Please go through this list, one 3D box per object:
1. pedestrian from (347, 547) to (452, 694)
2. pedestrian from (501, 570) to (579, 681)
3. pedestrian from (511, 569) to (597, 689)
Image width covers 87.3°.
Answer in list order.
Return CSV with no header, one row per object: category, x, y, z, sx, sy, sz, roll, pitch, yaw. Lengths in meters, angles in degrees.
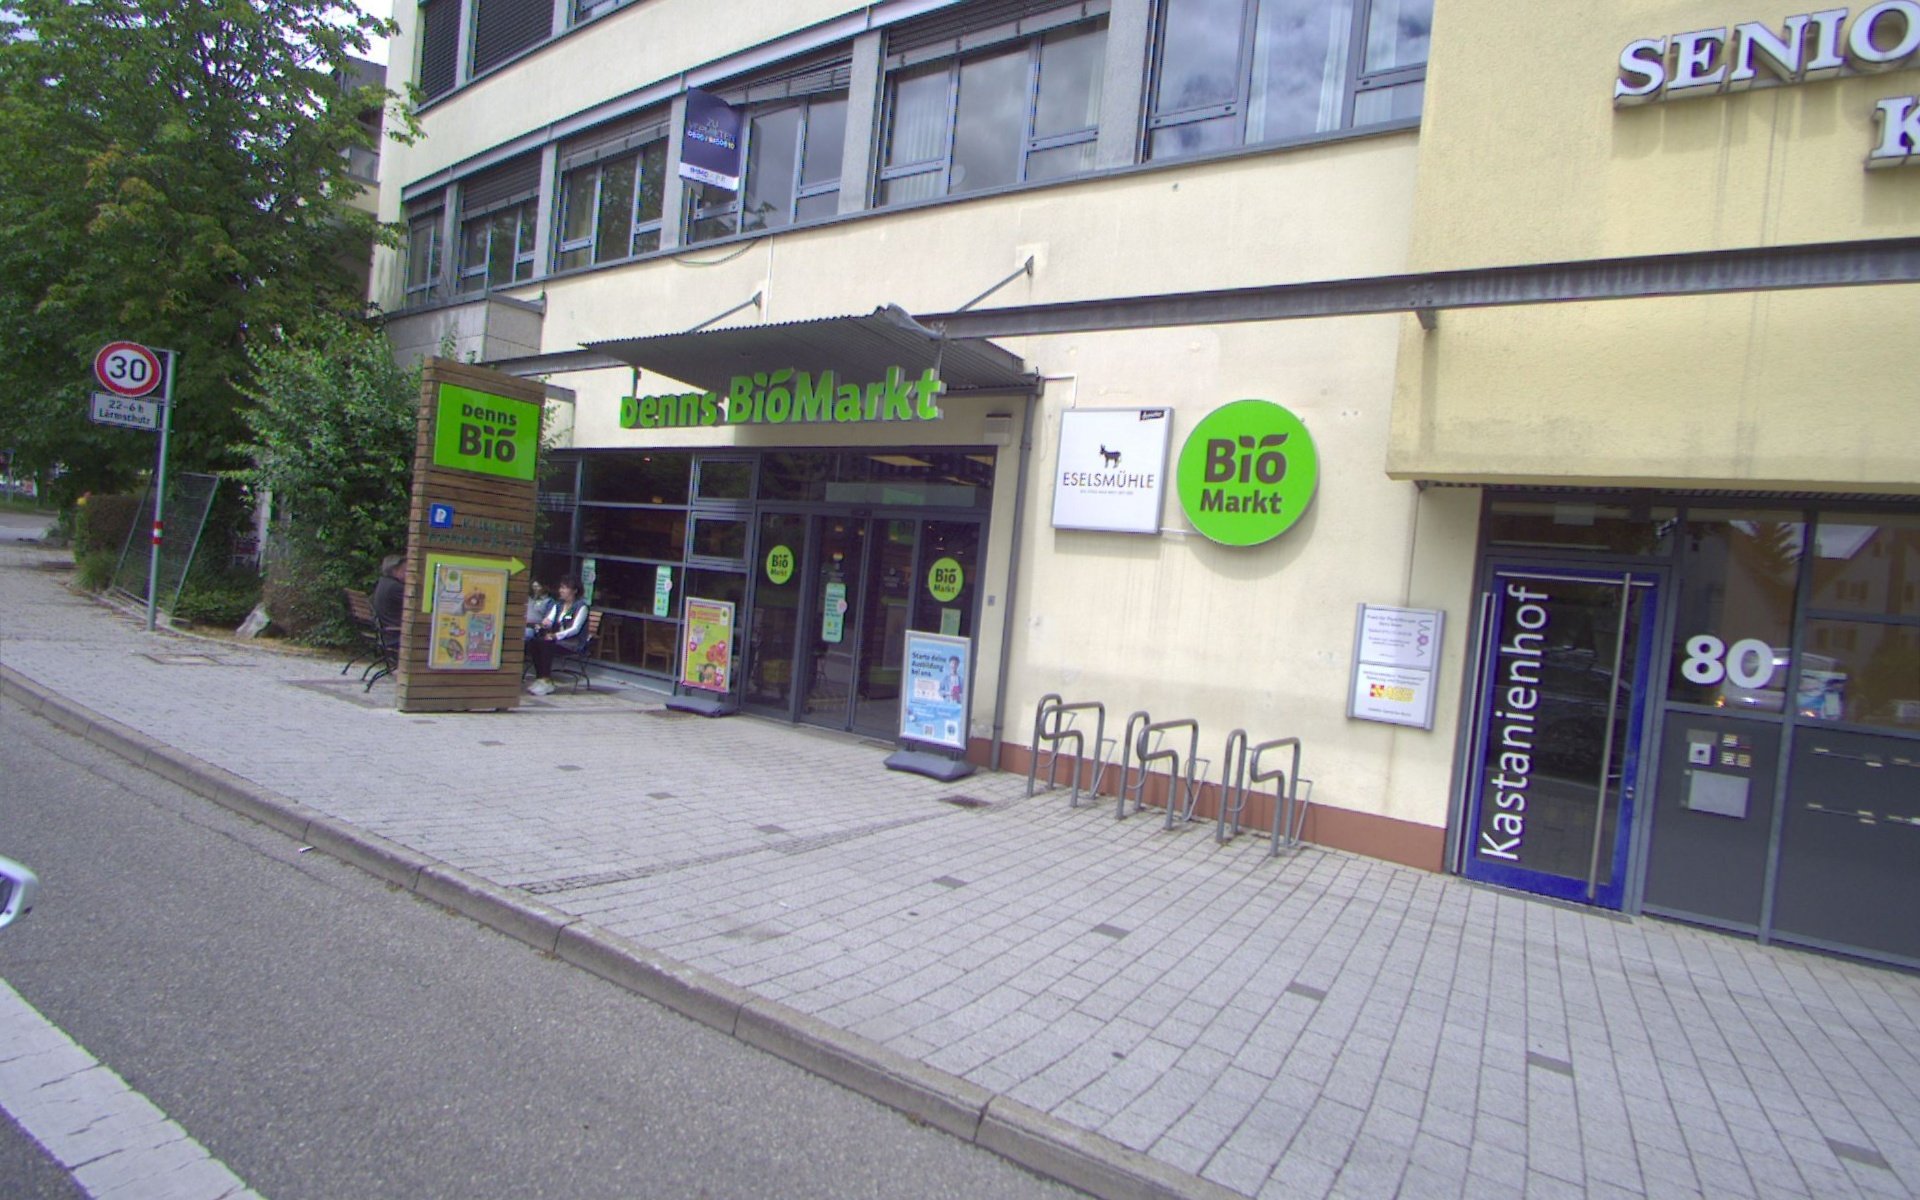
pedestrian,-5.437,0.199,9.755,0.686,1.333,0.572,6,0,-41
pedestrian,-4.811,0.294,11.538,0.492,1.196,0.522,6,0,22
pedestrian,-4.374,0.322,10.856,0.495,1.218,0.577,6,0,33
